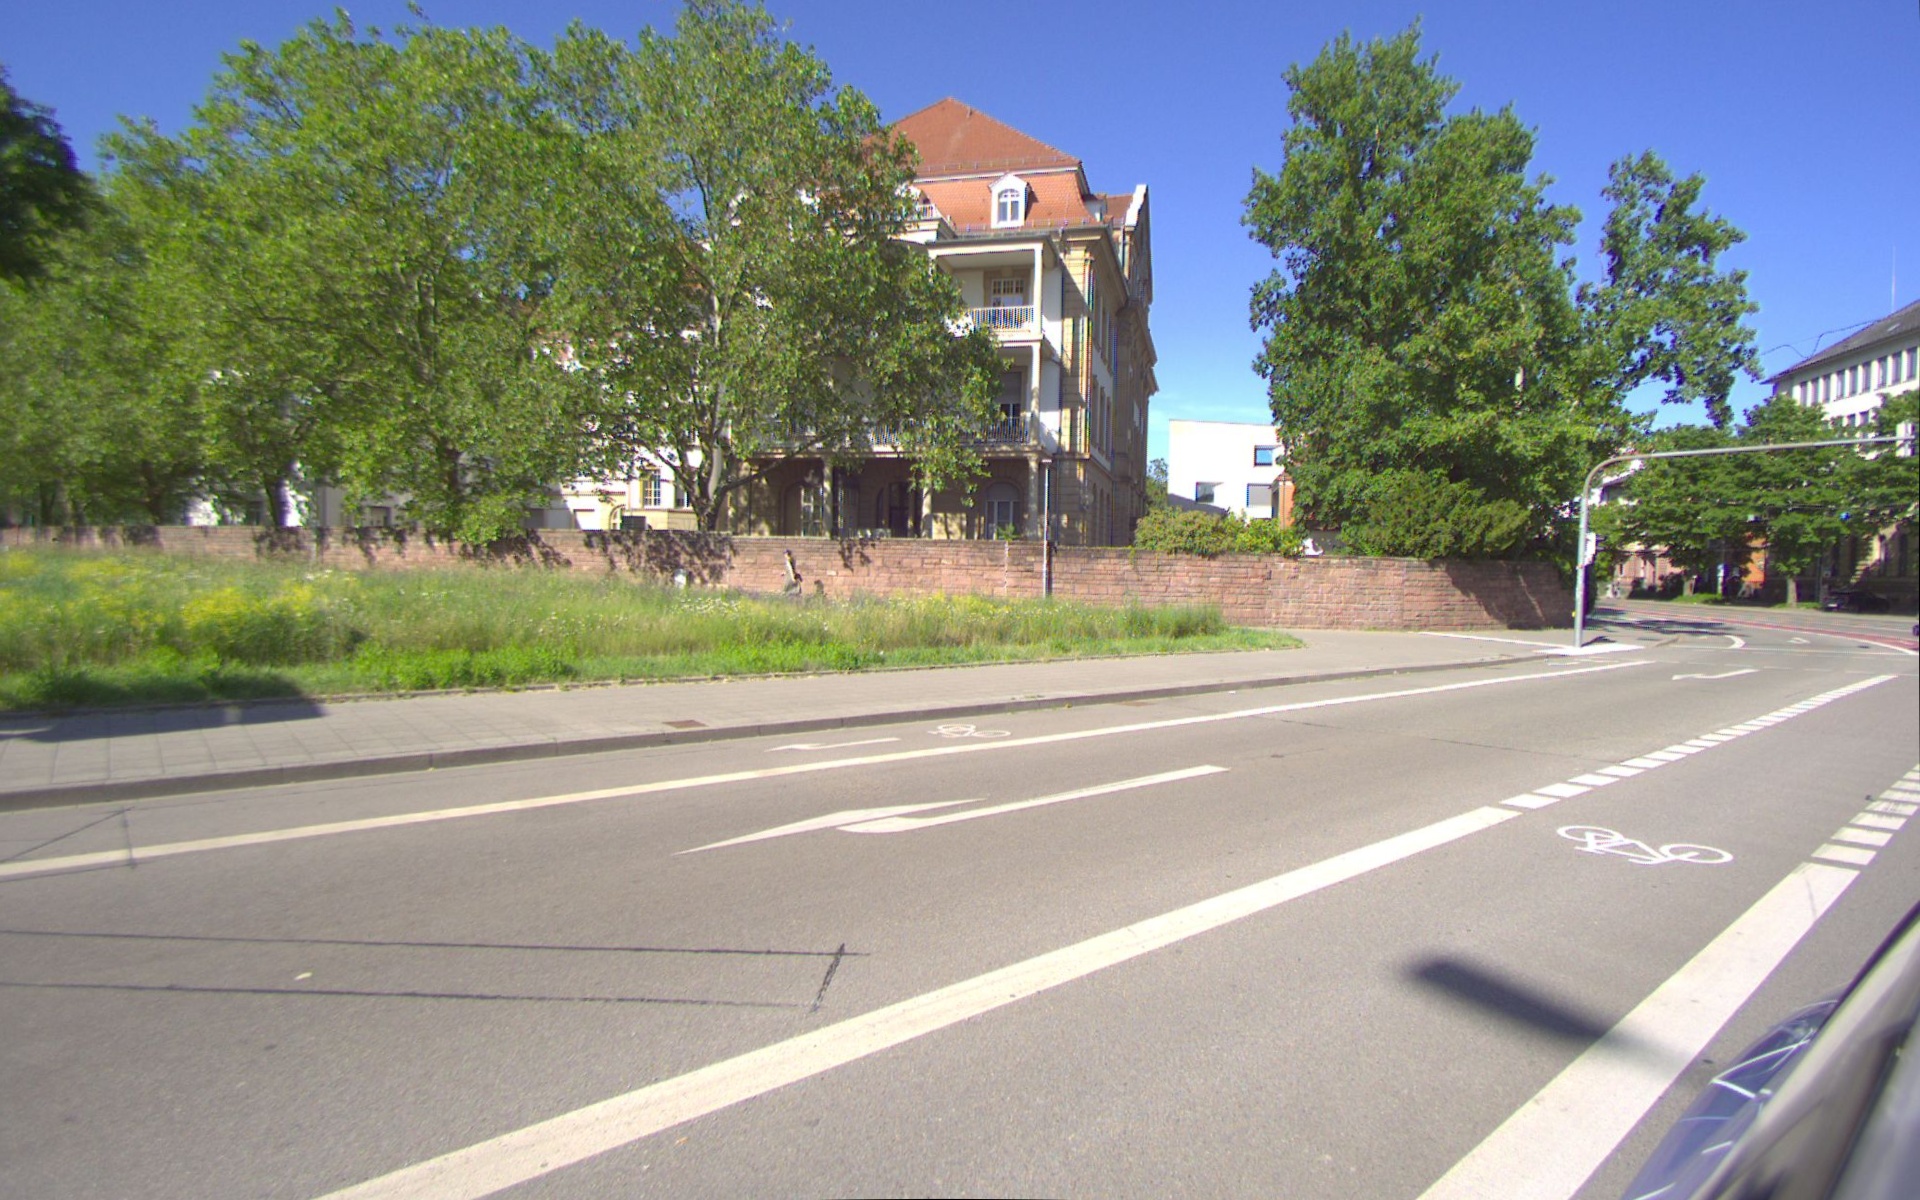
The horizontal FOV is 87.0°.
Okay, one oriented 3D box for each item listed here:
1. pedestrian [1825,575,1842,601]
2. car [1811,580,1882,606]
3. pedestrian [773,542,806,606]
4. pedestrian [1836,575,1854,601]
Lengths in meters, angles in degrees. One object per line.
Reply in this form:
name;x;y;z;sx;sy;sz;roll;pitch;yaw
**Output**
pedestrian;64.635;-0.904;74.867;0.568;1.927;0.781;1;1;12
car;60.253;-0.506;68.834;1.806;1.615;3.988;2;2;11
pedestrian;-5.100;-0.778;30.358;0.776;1.881;0.628;1;1;14
pedestrian;65.250;-0.884;74.634;0.568;1.927;0.849;1;1;12
